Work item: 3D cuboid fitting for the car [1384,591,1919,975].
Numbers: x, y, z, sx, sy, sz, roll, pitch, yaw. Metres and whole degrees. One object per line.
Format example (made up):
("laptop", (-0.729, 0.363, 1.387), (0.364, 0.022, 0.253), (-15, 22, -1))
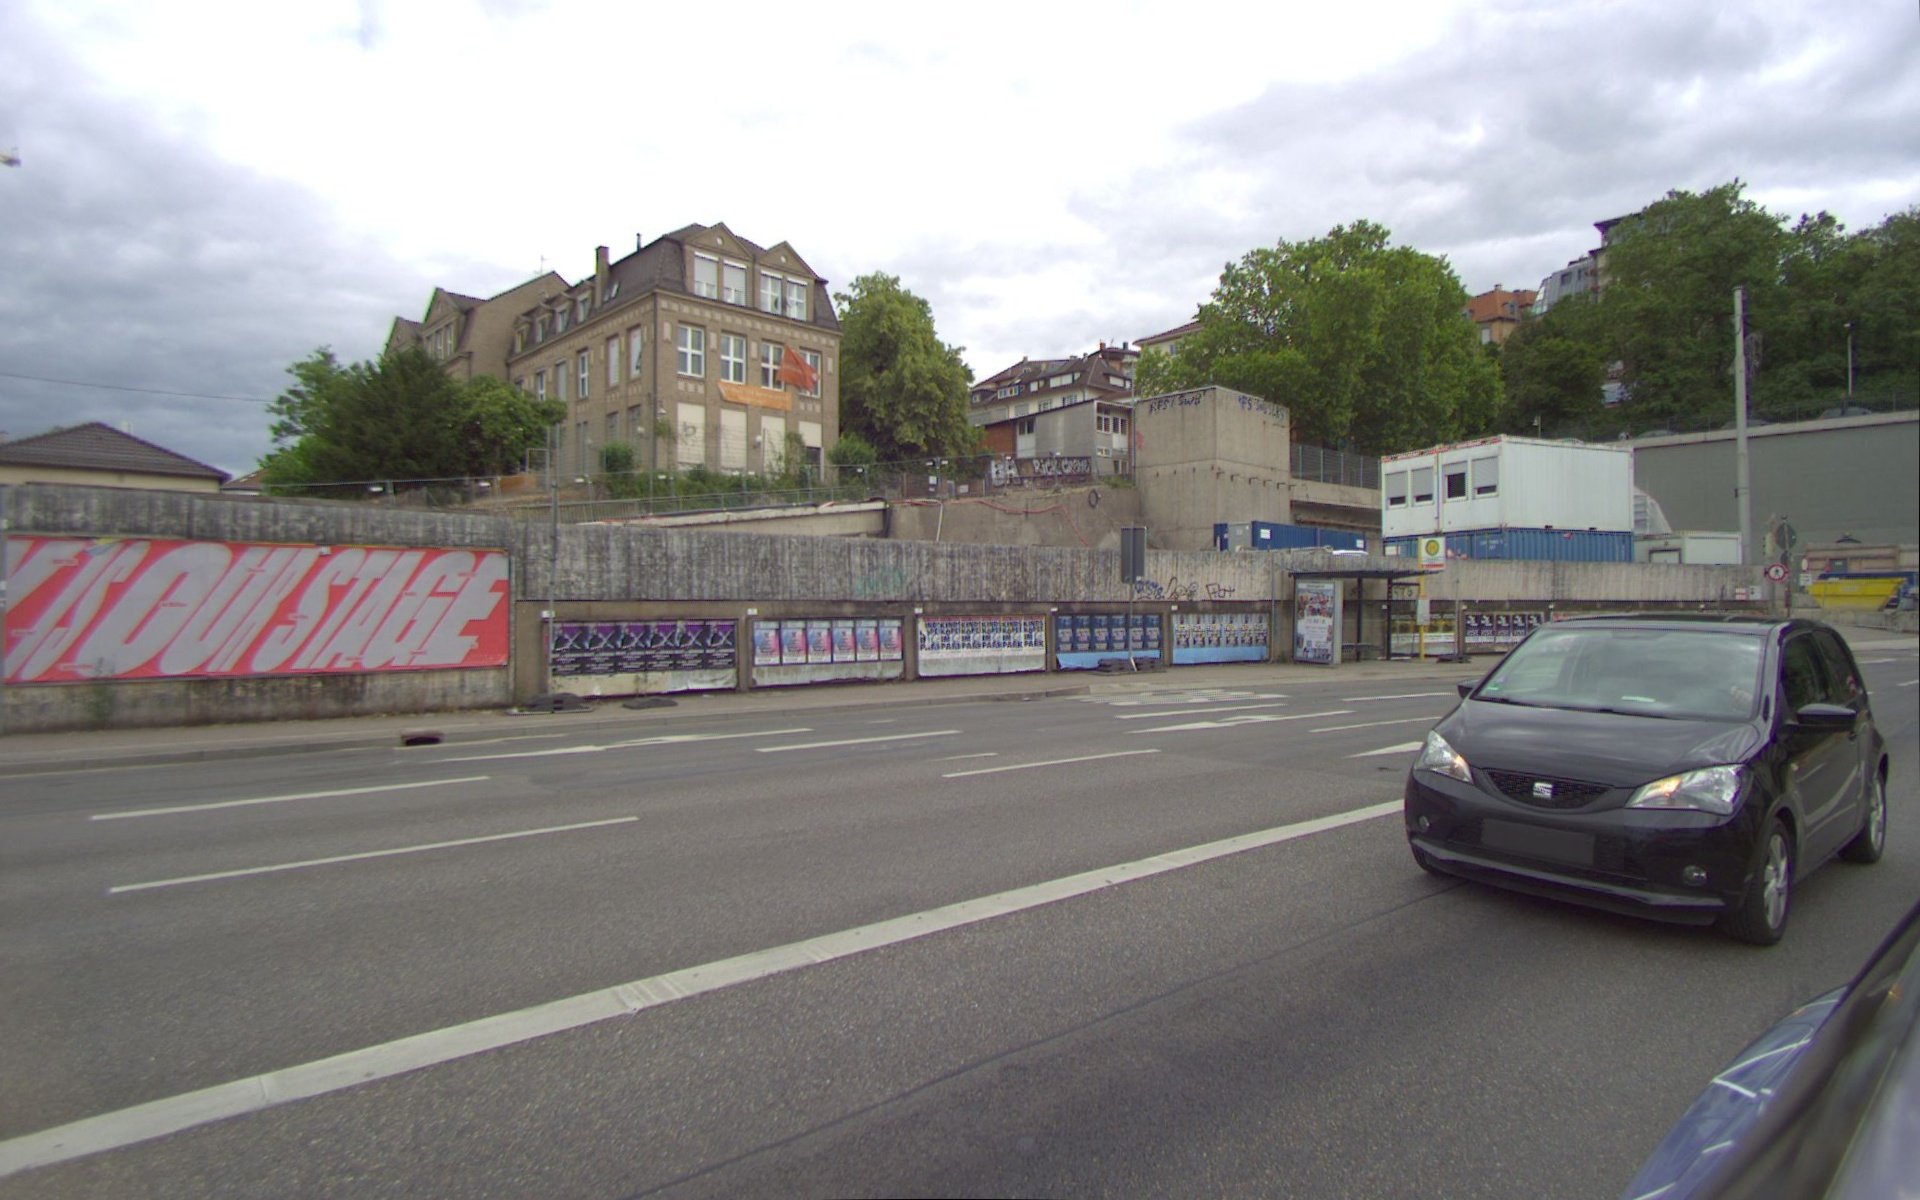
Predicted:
("car", (4.198, 0.729, 5.893), (3.814, 1.515, 1.666), (0, -1, -41))

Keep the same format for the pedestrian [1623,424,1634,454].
("pedestrian", (48.835, -11.779, 73.945), (0.580, 2.039, 0.568), (0, 0, 45))

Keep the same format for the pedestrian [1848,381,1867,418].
("pedestrian", (55.534, -12.407, 62.624), (0.849, 2.039, 0.891), (-1, -1, 44))

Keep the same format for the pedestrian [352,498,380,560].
("pedestrian", (-19.994, -2.388, 34.071), (0.644, 2.039, 0.656), (0, 0, 44))
